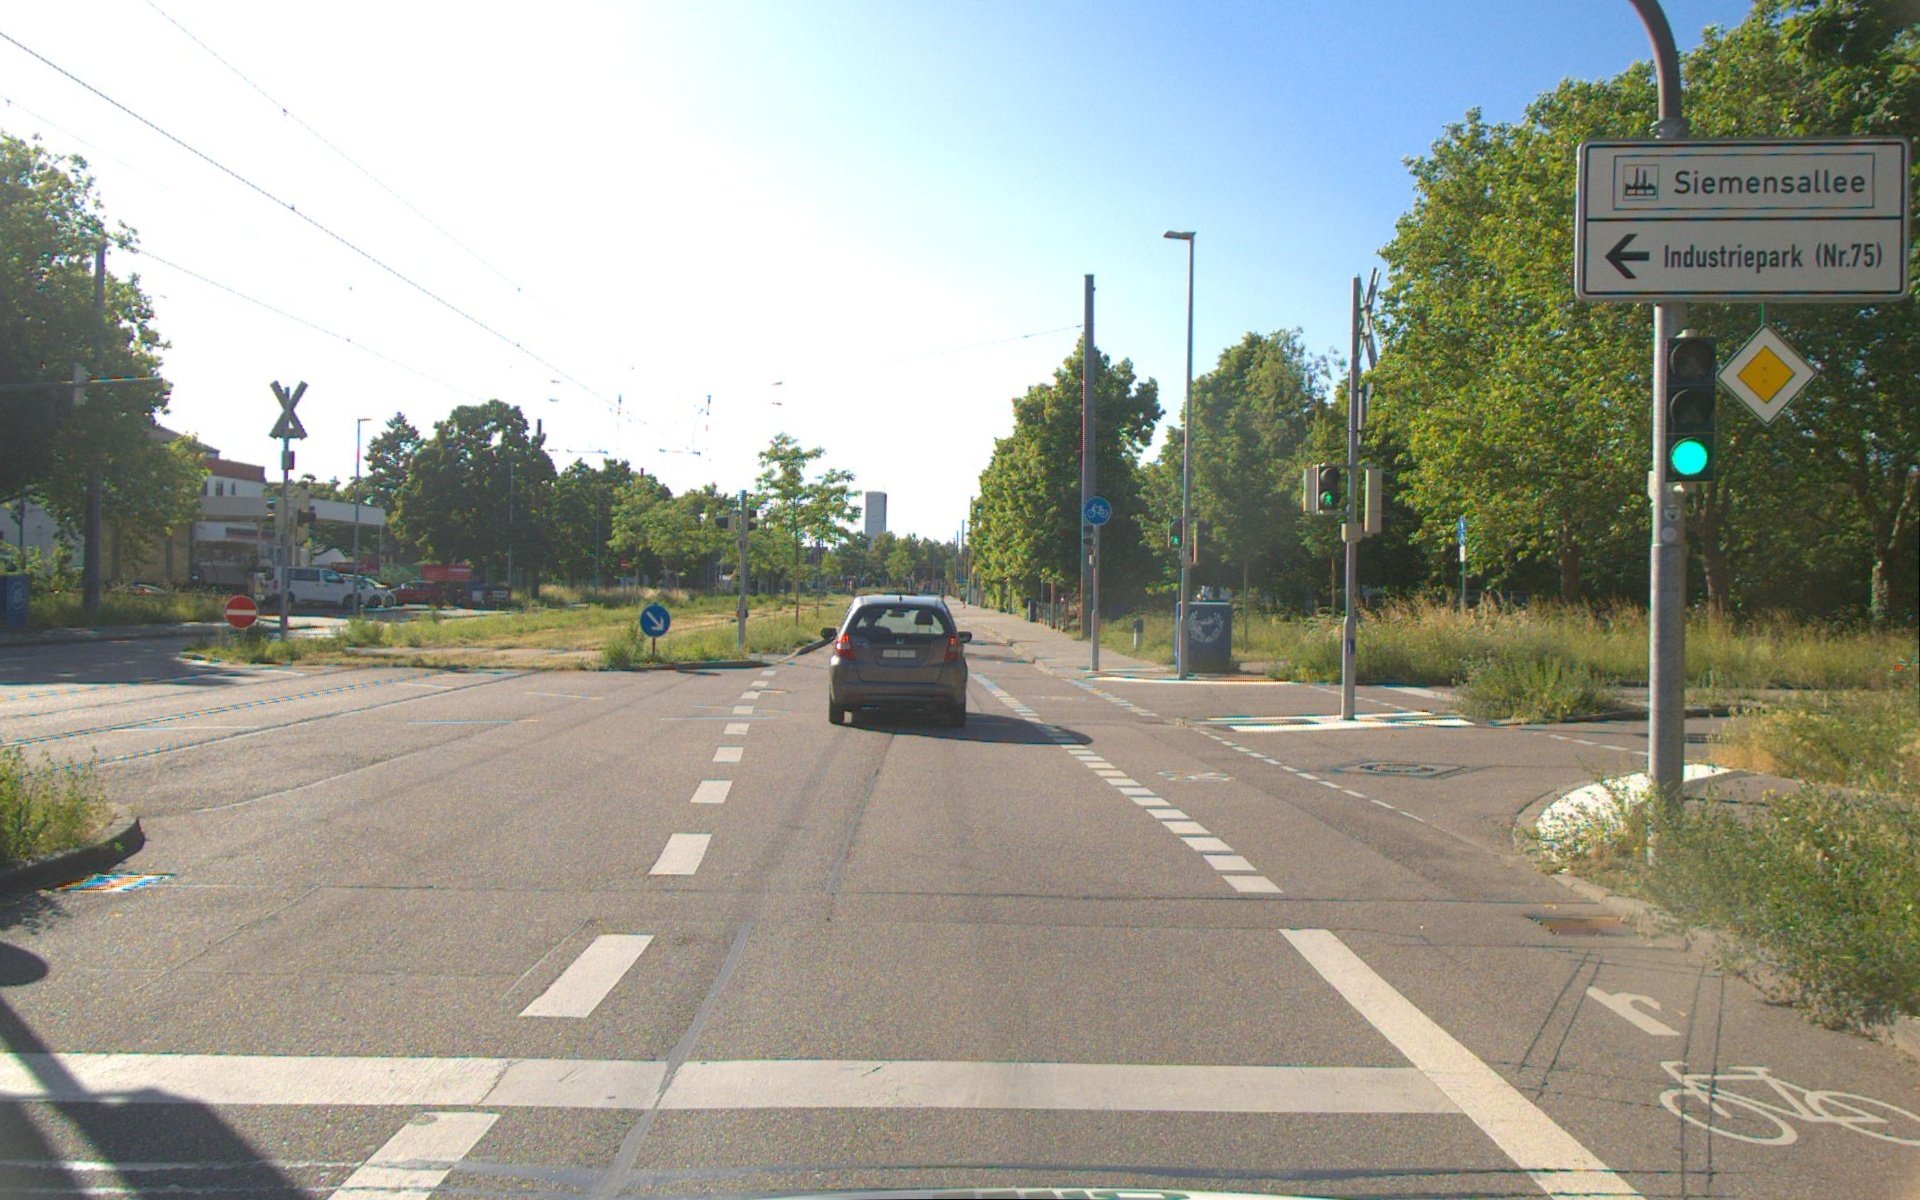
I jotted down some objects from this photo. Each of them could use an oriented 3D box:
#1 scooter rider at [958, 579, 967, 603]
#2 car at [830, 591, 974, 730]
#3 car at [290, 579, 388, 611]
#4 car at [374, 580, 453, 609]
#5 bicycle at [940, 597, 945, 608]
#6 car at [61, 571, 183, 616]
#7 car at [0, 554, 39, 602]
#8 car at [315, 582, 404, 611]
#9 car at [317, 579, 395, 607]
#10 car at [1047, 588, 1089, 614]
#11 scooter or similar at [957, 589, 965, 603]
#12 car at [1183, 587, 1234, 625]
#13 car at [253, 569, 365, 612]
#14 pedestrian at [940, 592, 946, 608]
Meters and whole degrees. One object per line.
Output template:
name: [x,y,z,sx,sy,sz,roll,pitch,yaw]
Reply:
scooter rider: [0.190,-0.748,138.496,0.702,1.934,0.934,1,0,-4]
car: [-0.679,0.691,20.726,1.591,1.526,3.456,2,0,-1]
car: [-31.352,-0.284,83.583,1.756,1.554,4.454,1,1,36]
car: [-31.642,-0.323,95.858,3.990,1.596,1.791,0,1,-4]
bicycle: [-1.995,0.259,189.717,0.502,1.263,3.088,1,0,-3]
car: [-33.560,-0.242,66.329,3.889,1.552,1.727,2,-3,-7]
car: [-44.086,-1.010,73.964,4.627,2.128,2.020,0,1,-3]
car: [-31.826,-0.216,87.785,1.752,1.496,4.465,1,1,28]
car: [-35.768,-0.419,98.057,3.990,1.596,1.791,0,1,-4]
car: [5.862,0.044,89.815,1.739,1.411,3.866,0,0,-5]
scooter or similar: [0.065,-0.338,138.454,0.528,1.138,1.416,1,0,-3]
car: [13.460,0.299,89.783,1.834,2.001,5.165,2,0,-2]
car: [-31.126,-0.460,79.236,1.824,2.008,4.768,1,1,36]
pedestrian: [-1.964,-0.032,189.976,0.707,1.832,1.164,1,0,-3]
